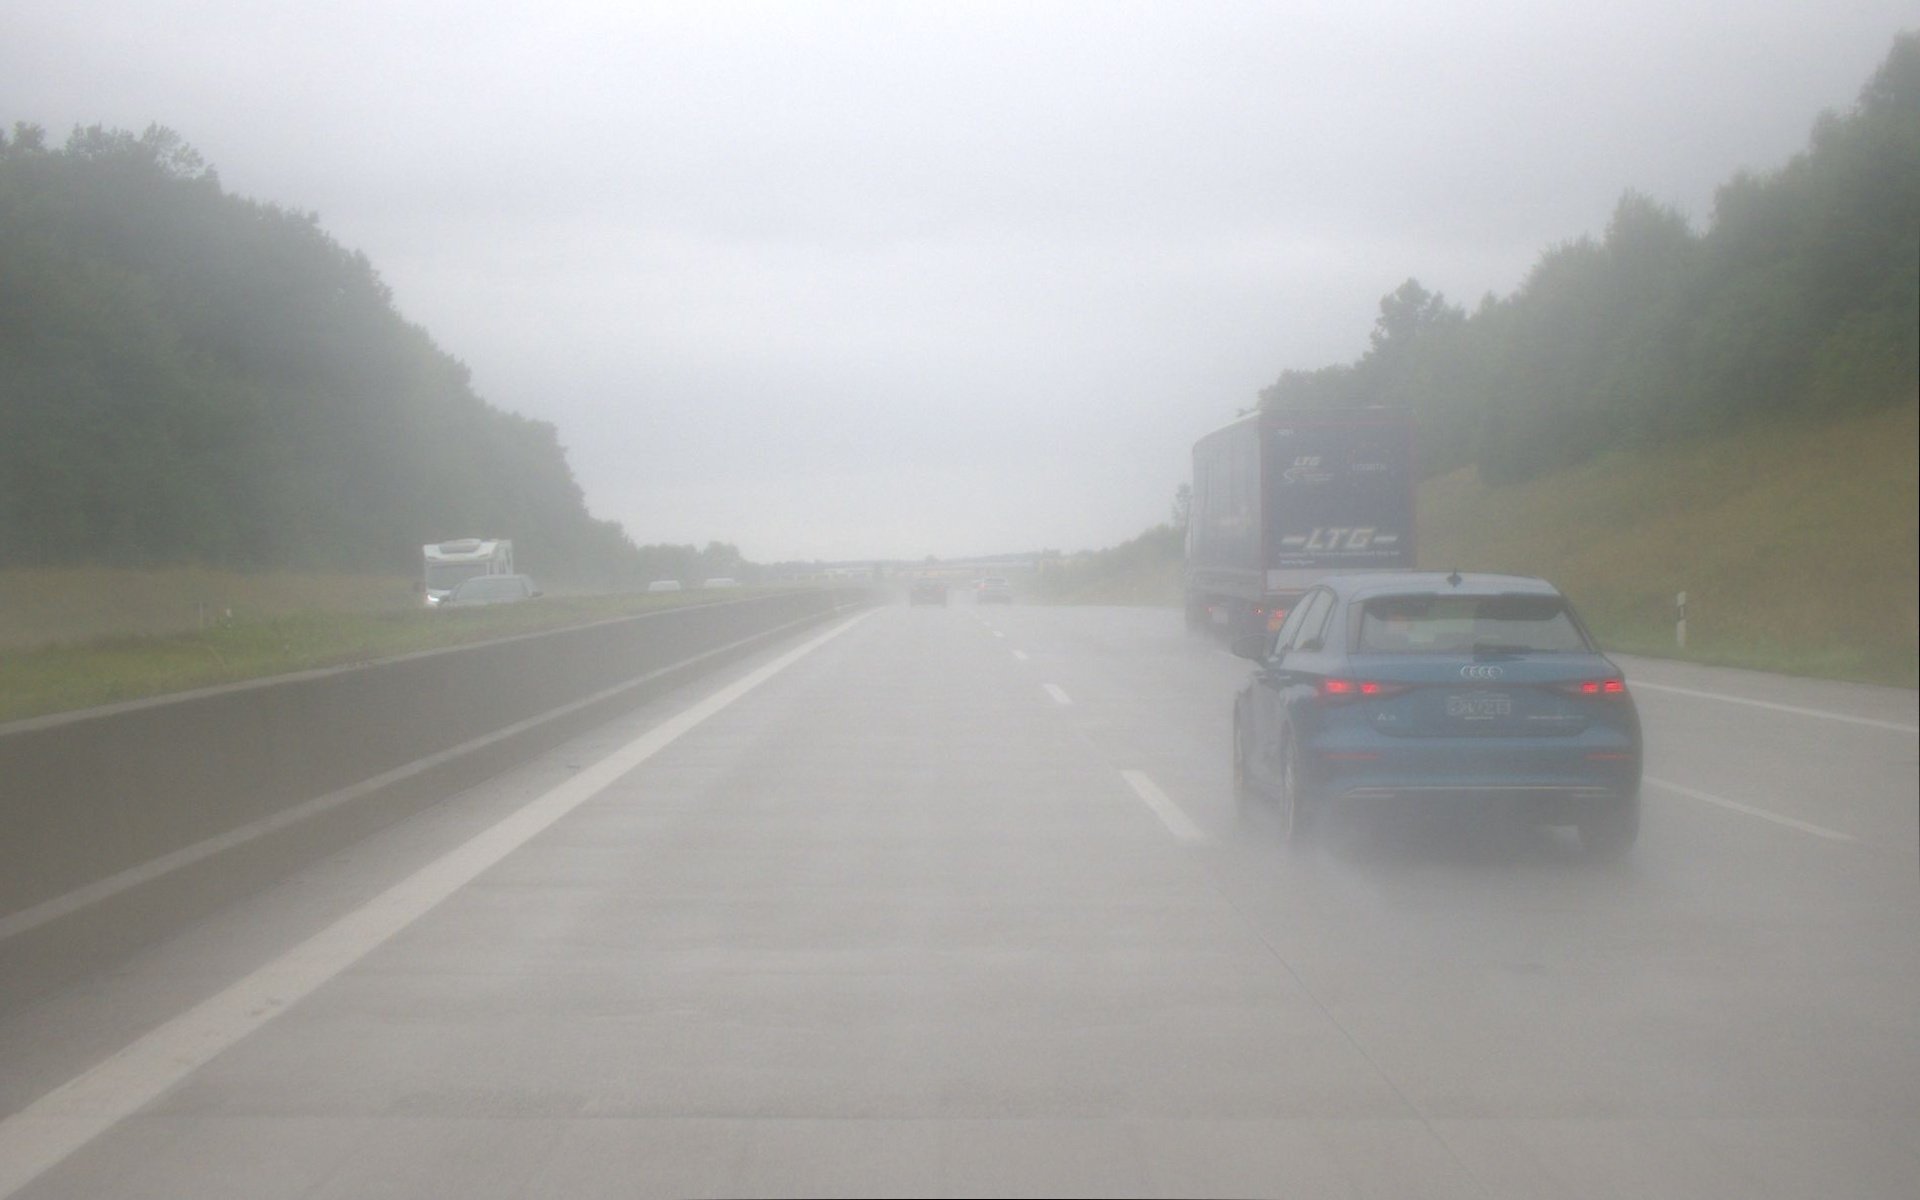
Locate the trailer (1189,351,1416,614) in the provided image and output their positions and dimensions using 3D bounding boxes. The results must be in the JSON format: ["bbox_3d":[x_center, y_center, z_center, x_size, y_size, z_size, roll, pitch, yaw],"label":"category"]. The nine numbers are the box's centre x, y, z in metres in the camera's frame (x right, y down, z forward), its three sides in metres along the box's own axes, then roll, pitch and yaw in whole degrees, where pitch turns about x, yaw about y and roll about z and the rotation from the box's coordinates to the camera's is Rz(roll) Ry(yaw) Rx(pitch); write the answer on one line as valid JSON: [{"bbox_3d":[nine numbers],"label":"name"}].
[{"bbox_3d":[6.224,-1.981,64.932,2.706,4.365,15.204,1,0,0],"label":"trailer"}]

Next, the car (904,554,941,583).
[{"bbox_3d":[-1.771,-1.486,162.639,1.729,1.326,4.430,0,1,-1],"label":"car"}]

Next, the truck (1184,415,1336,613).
[{"bbox_3d":[6.190,-1.734,71.582,2.636,3.940,5.686,1,0,0],"label":"truck"}]

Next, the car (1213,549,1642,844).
[{"bbox_3d":[2.524,0.508,19.624,1.729,1.454,4.672,-1,-1,-1],"label":"car"}]
